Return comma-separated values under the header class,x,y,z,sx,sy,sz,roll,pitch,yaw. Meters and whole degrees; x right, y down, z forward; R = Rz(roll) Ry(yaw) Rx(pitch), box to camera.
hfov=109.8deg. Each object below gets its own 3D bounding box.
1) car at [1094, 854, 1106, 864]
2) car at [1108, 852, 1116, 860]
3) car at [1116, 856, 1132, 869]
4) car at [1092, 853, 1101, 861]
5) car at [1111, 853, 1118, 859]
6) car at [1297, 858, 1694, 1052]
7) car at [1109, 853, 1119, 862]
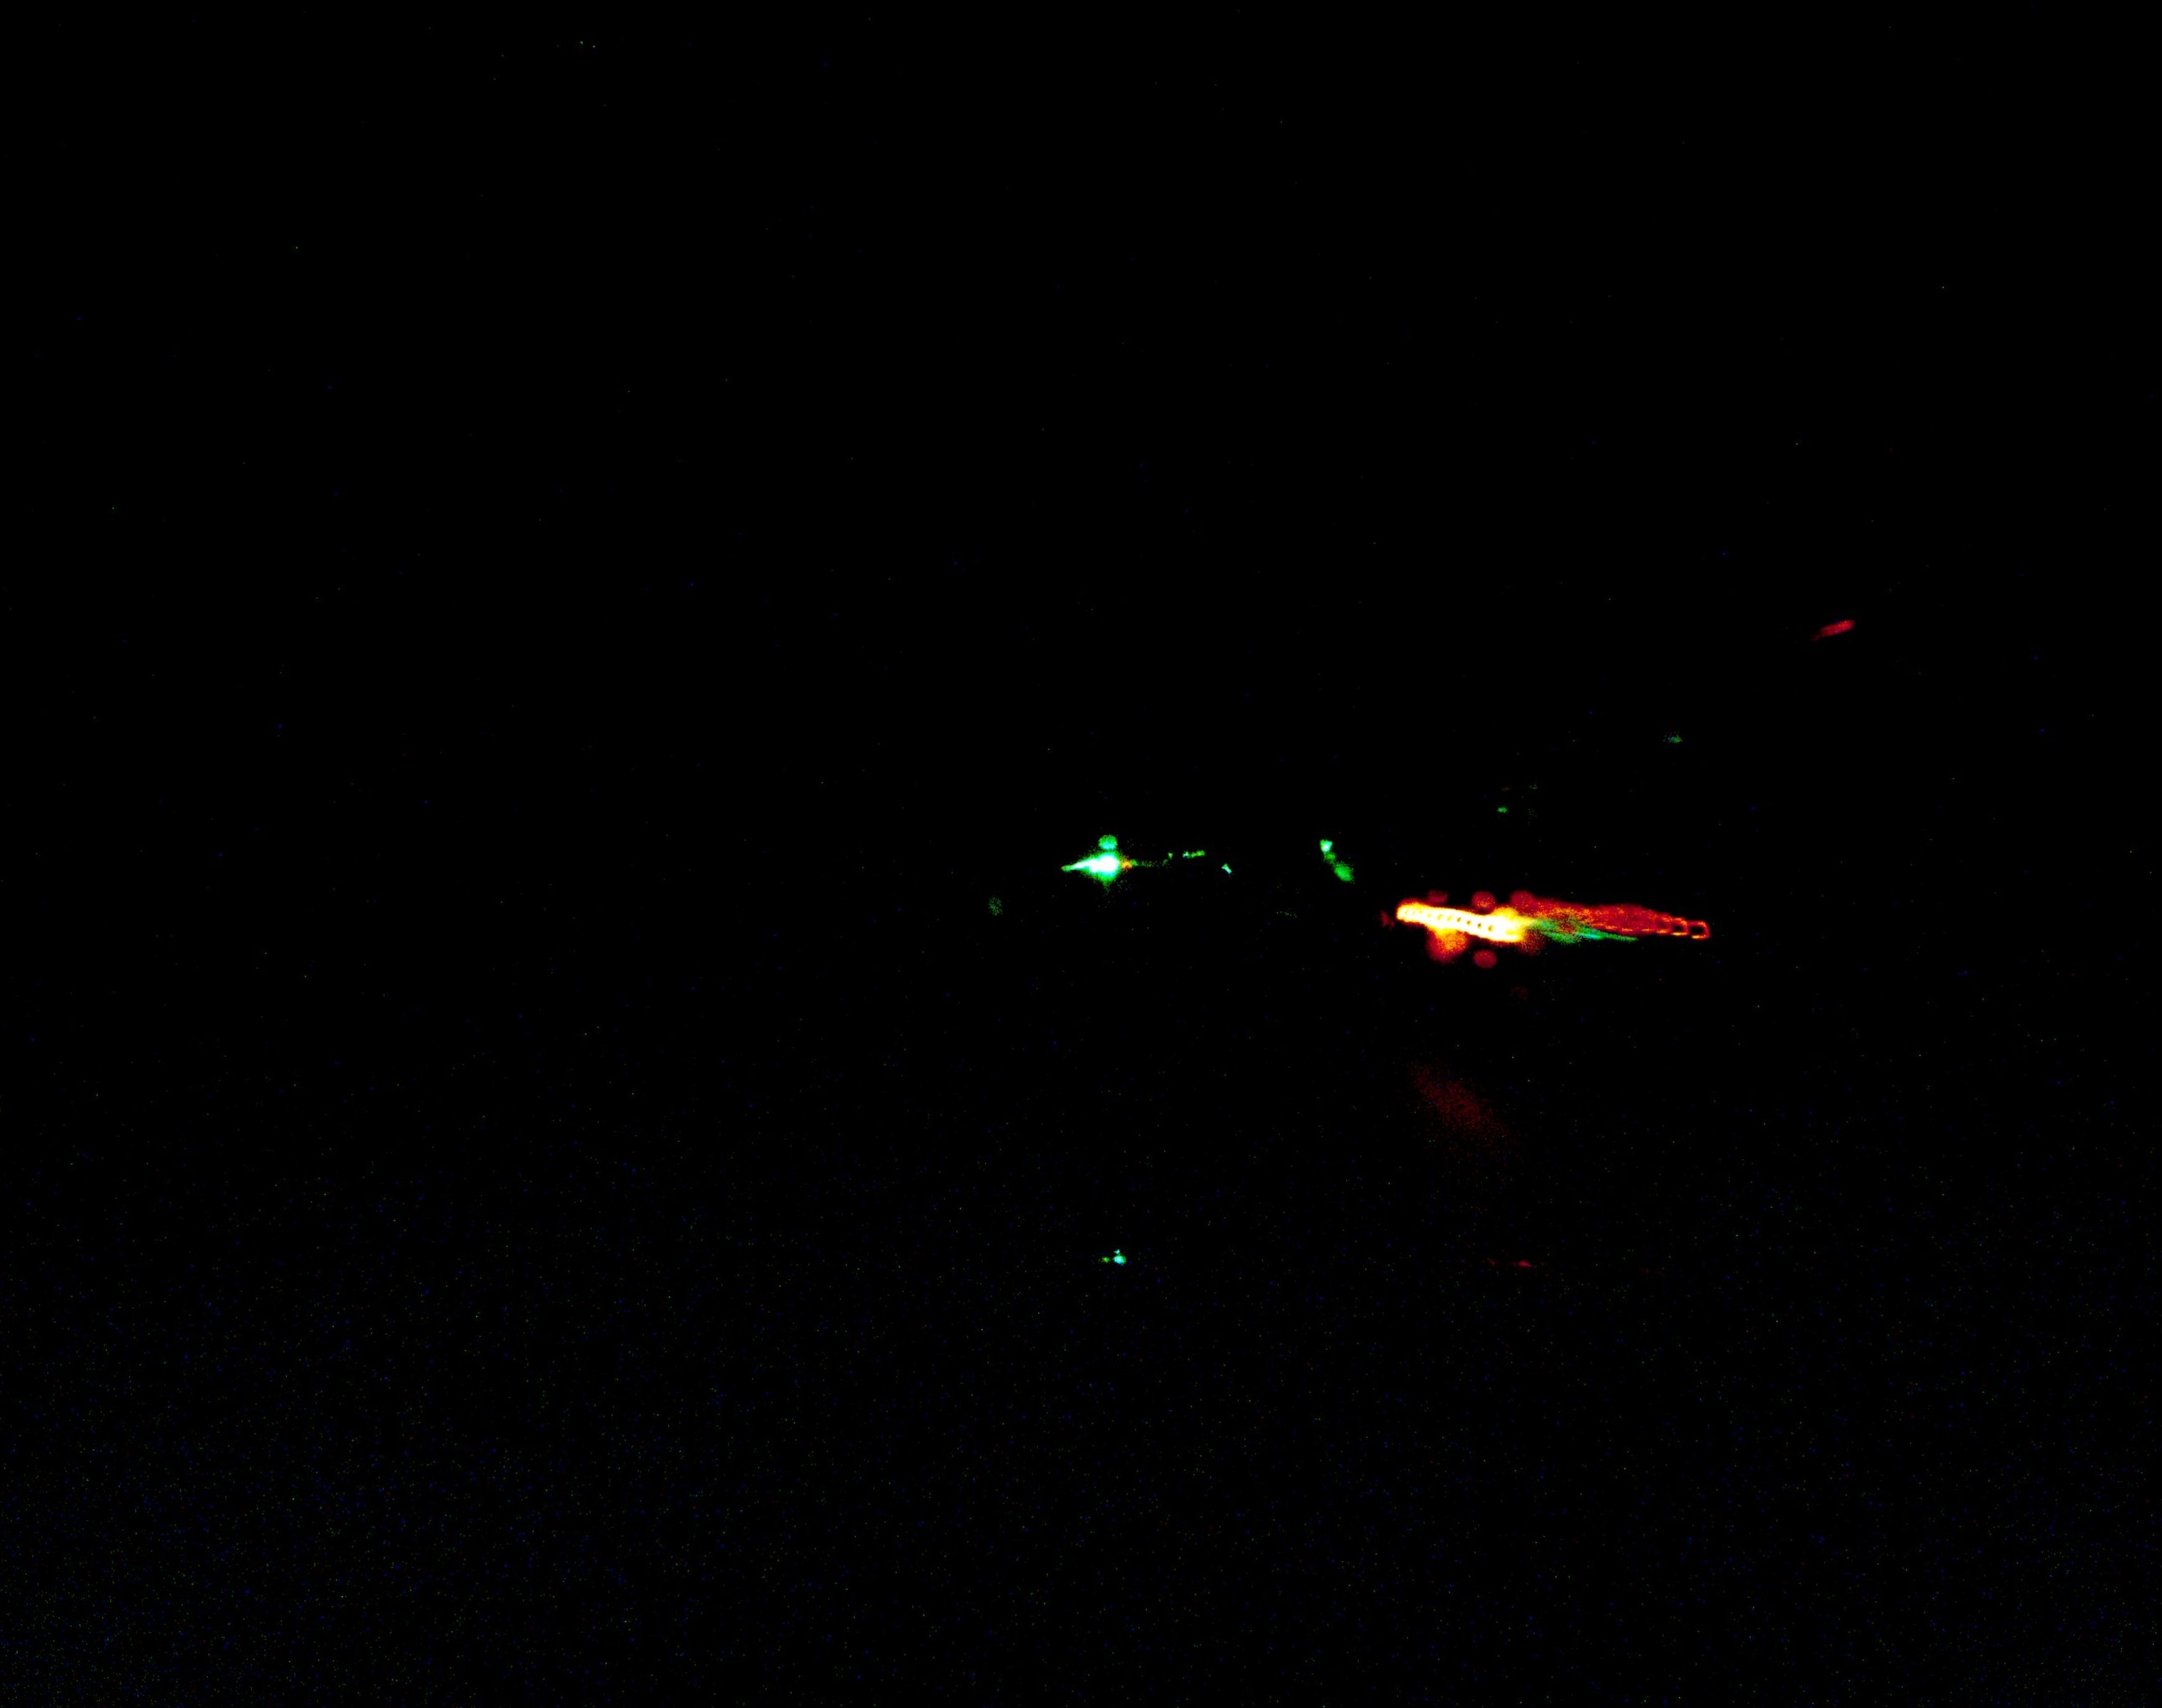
class,x,y,z,sx,sy,sz,roll,pitch,yaw
car,3.120,0.891,126.841,1.824,1.565,4.106,-2,1,1
car,6.904,0.391,169.809,1.783,1.565,4.000,-2,1,1
car,5.567,1.041,98.214,1.783,1.565,4.000,-2,1,1
car,3.233,0.579,162.278,1.783,1.565,4.000,-2,1,1
car,9.582,0.582,215.879,1.783,1.565,4.000,-2,1,1
car,3.879,0.801,8.172,1.872,1.434,4.463,-1,1,1
car,6.387,0.604,146.419,1.783,1.565,4.000,-2,1,1
